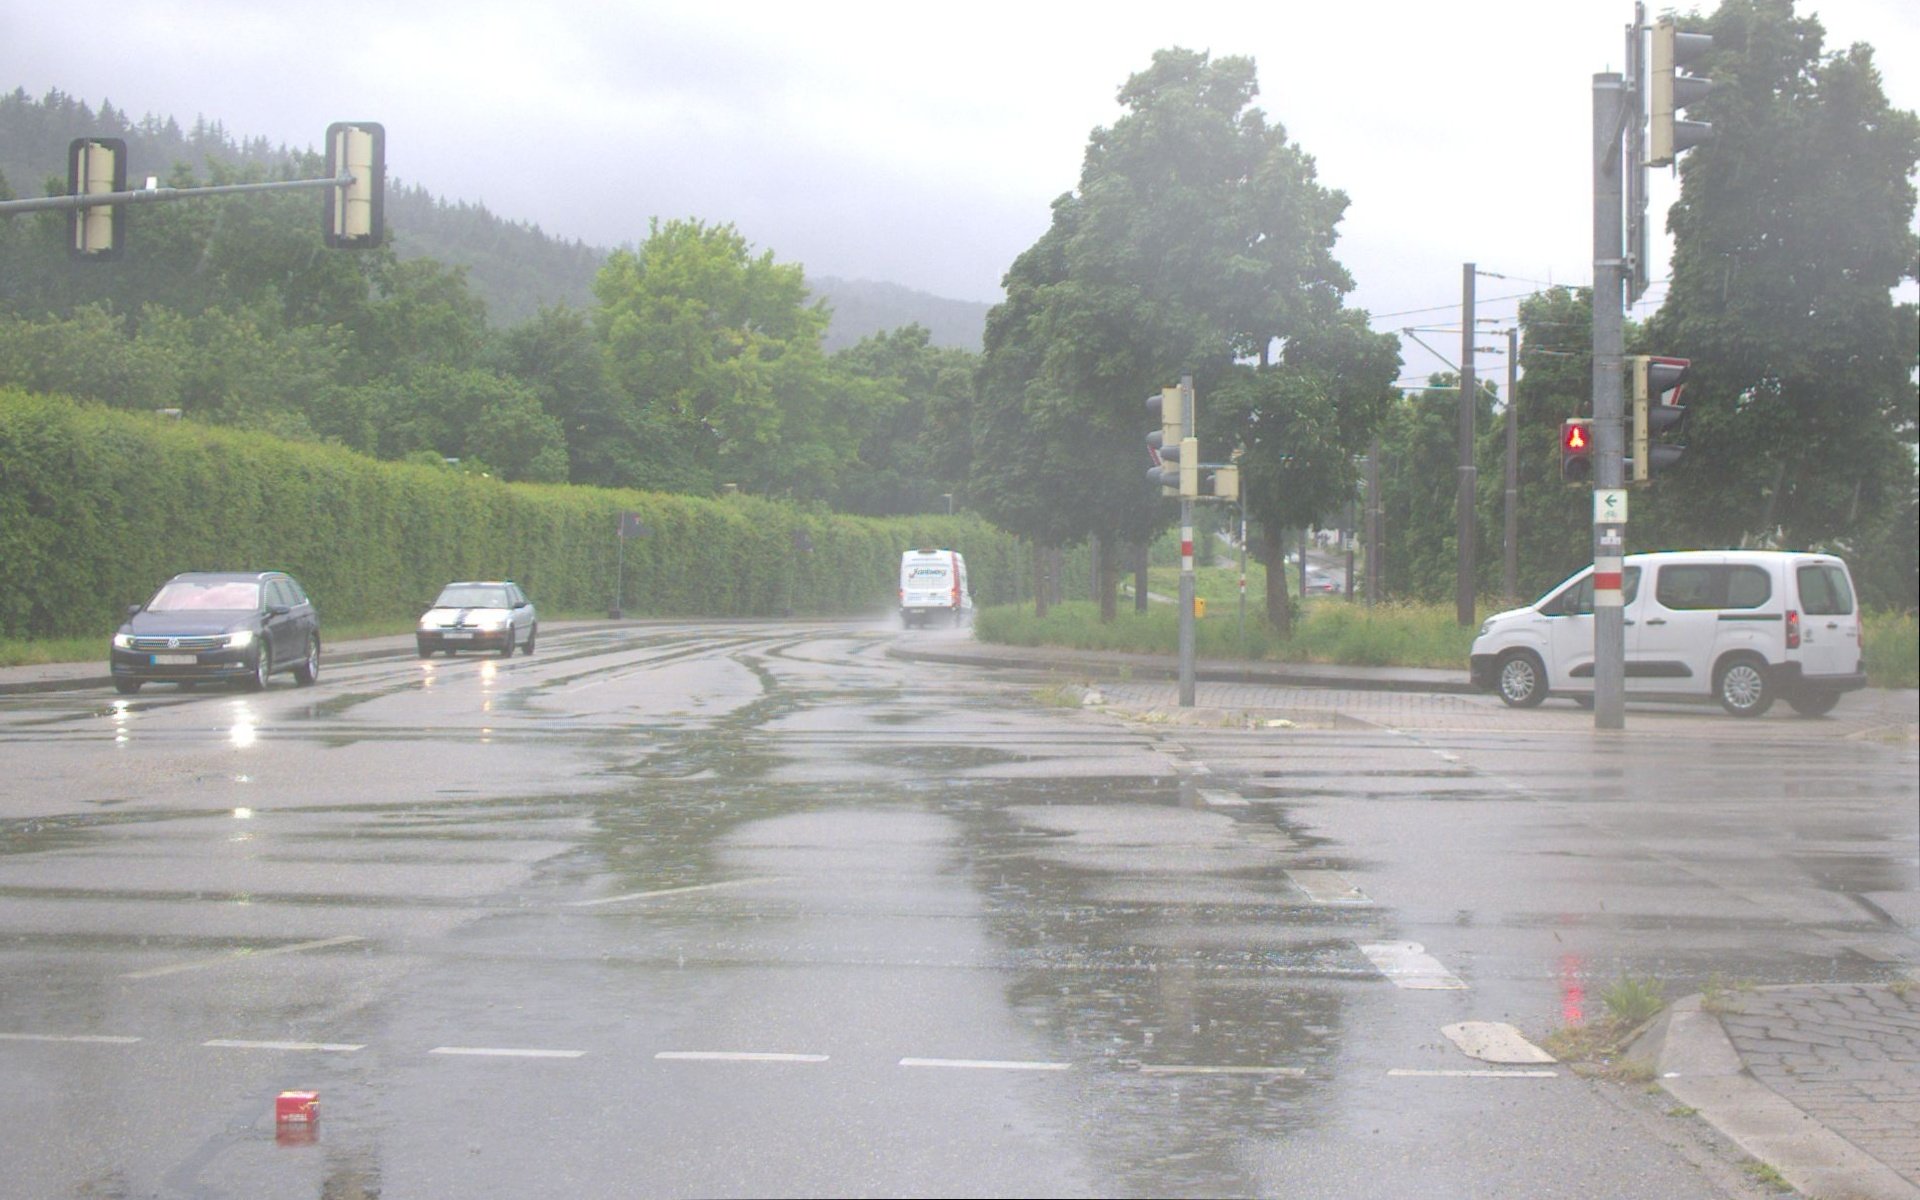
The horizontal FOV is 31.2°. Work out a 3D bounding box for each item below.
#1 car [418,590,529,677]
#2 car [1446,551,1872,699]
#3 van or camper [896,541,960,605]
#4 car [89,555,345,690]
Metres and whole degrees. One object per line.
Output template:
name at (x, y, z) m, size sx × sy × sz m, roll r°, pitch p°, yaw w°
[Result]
car at (-8.896, 0.597, 63.070) m, size 1.558 × 1.476 × 3.361 m, roll 1°, pitch 1°, yaw 0°
car at (7.789, 0.235, 38.537) m, size 4.344 × 1.548 × 1.818 m, roll 1°, pitch 1°, yaw 40°
van or camper at (-1.110, -0.984, 120.467) m, size 2.153 × 2.162 × 4.865 m, roll 1°, pitch 1°, yaw 0°
car at (-9.365, 0.242, 43.732) m, size 1.879 × 1.568 × 4.644 m, roll -2°, pitch 1°, yaw 5°
